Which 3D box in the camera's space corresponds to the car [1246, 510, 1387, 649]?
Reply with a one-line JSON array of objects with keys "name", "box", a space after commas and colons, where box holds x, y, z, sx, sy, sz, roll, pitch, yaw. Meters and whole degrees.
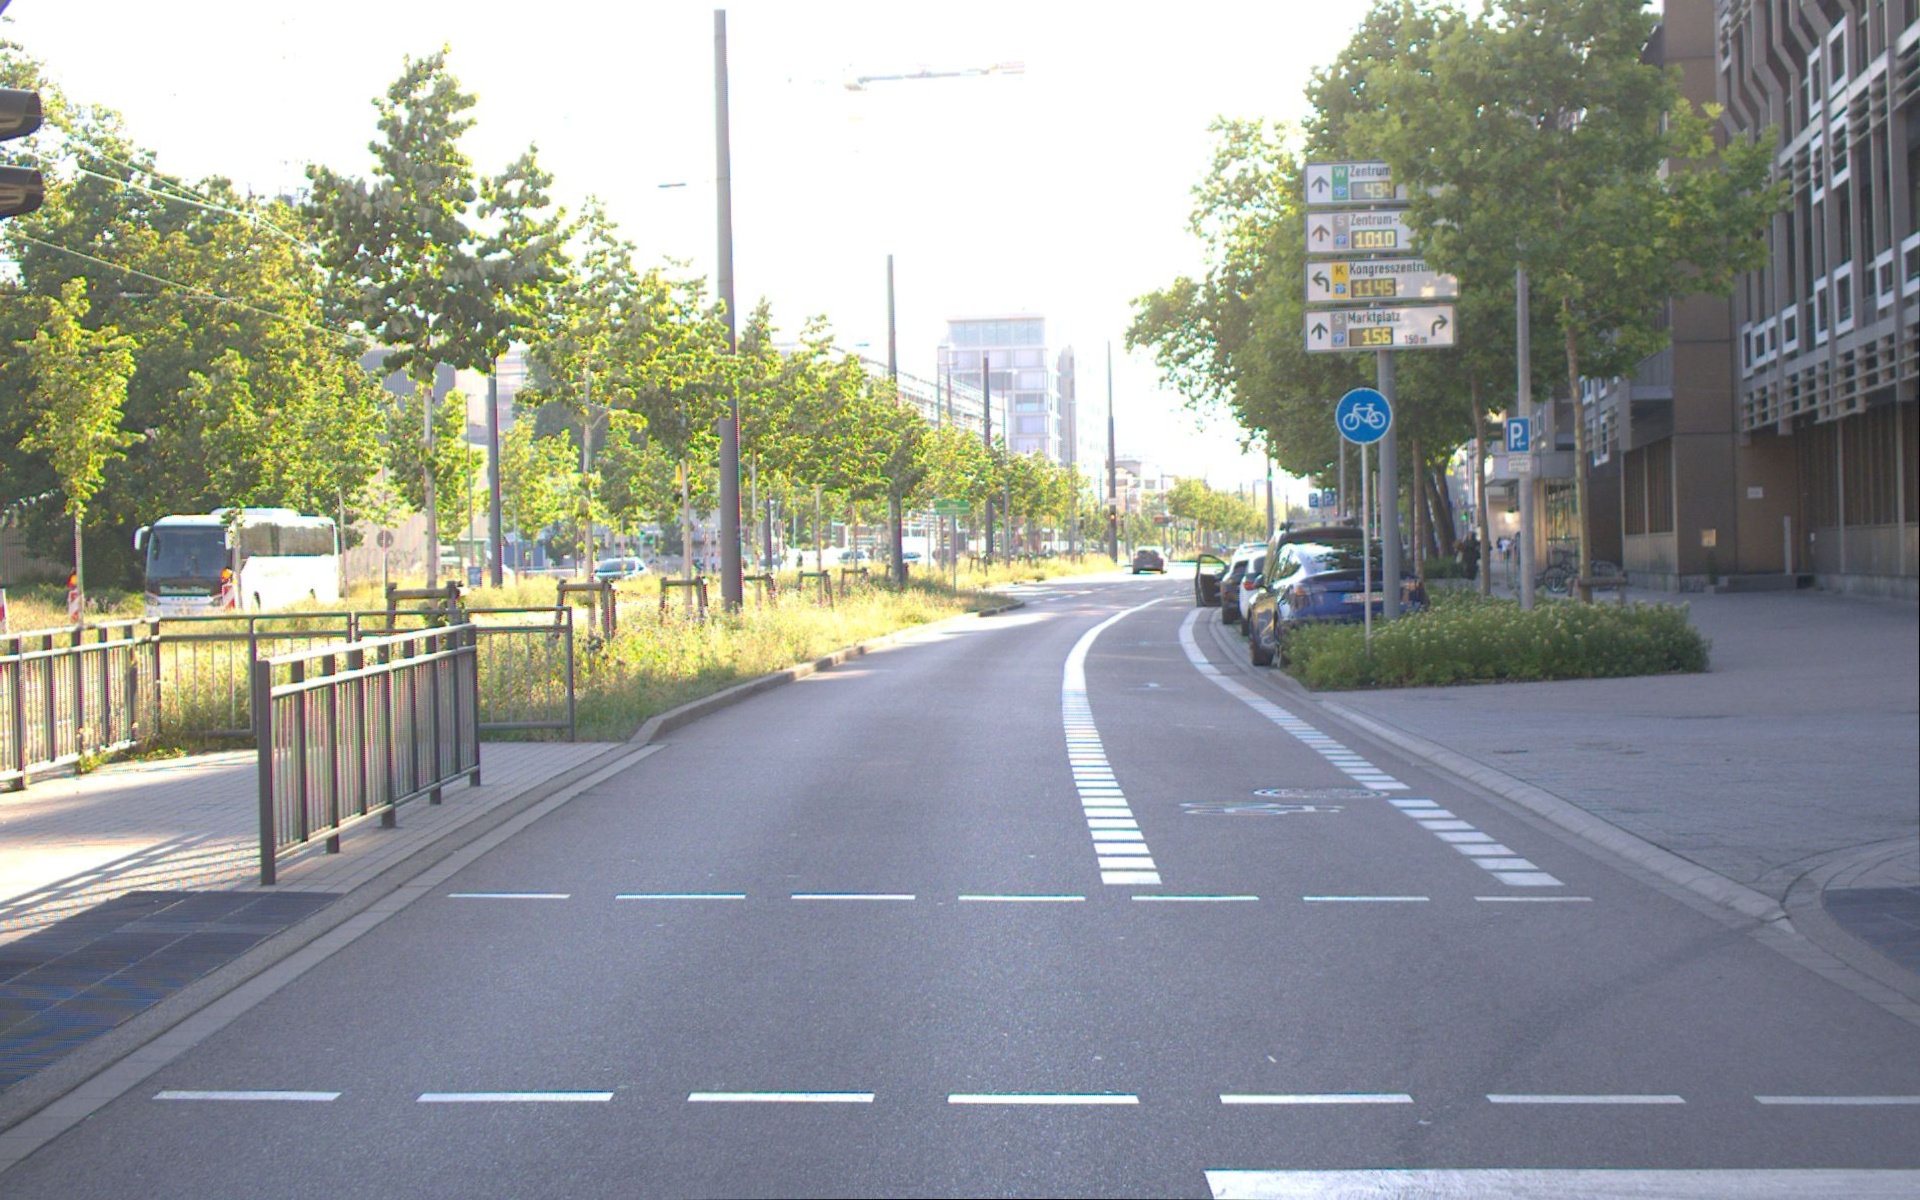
[{"name": "car", "box": [5.308, -0.336, 51.679, 1.734, 1.913, 4.393, -3, 1, 2]}]

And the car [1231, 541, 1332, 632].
[{"name": "car", "box": [5.748, -0.276, 61.530, 1.664, 1.485, 4.203, -3, 1, 5]}]

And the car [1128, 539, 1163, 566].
[{"name": "car", "box": [10.058, -2.585, 186.132, 1.777, 1.423, 3.999, 0, 1, 5]}]

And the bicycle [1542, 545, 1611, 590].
[{"name": "bicycle", "box": [15.163, -0.800, 84.562, 1.627, 1.078, 0.392, -2, 0, 7]}]

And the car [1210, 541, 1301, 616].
[{"name": "car", "box": [6.238, -0.477, 72.736, 1.795, 1.444, 4.376, -3, 1, 5]}]

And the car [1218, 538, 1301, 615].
[{"name": "car", "box": [6.779, -0.559, 78.140, 1.728, 1.616, 4.216, -3, 1, 4]}]

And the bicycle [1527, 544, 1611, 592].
[{"name": "bicycle", "box": [14.564, -0.769, 82.283, 1.899, 1.089, 0.392, -2, 0, 0]}]

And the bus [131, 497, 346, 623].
[{"name": "bus", "box": [-21.768, -1.243, 104.649, 2.799, 3.582, 12.696, -1, 1, 5]}]

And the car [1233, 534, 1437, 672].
[{"name": "car", "box": [4.776, 0.007, 44.407, 1.931, 1.593, 4.699, -3, 1, -2]}]

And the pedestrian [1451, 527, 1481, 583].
[{"name": "pedestrian", "box": [15.055, -1.348, 102.312, 0.789, 1.643, 1.136, -2, 0, 5]}]
